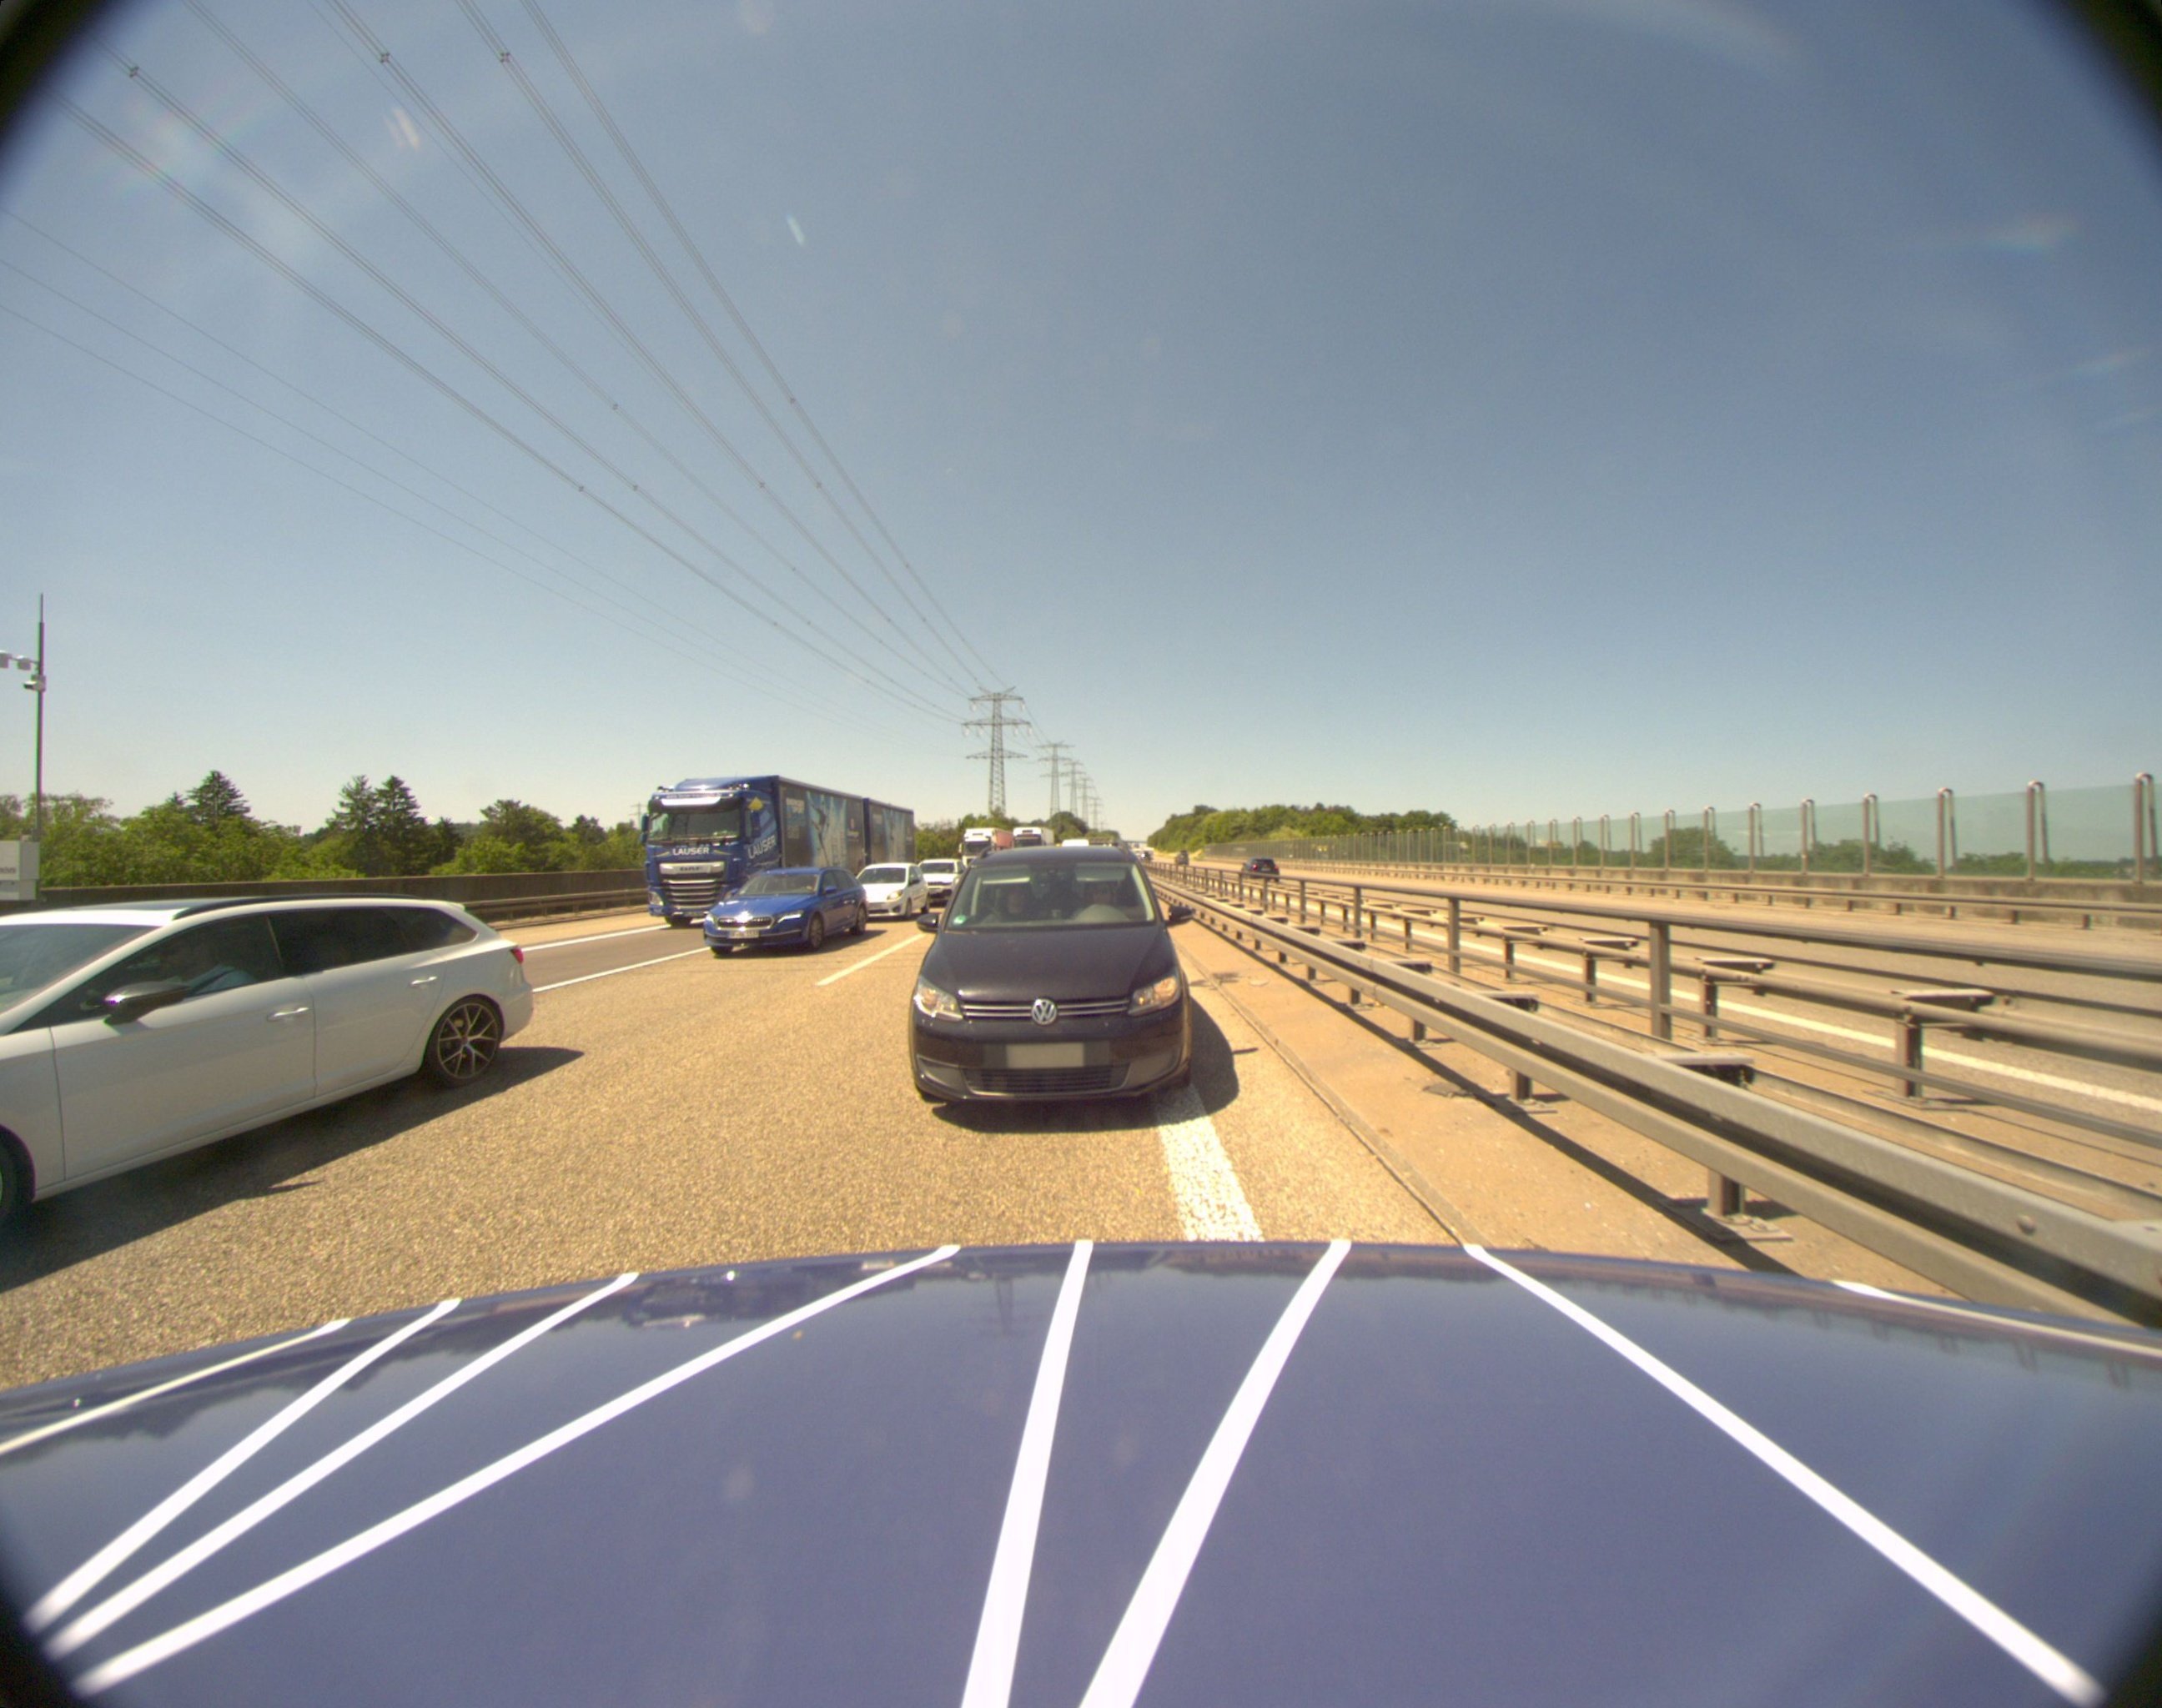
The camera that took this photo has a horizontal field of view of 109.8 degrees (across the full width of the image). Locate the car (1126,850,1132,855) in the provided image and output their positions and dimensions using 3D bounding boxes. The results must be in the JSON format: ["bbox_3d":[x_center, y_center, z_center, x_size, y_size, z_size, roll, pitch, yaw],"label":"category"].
[{"bbox_3d":[14.126,-0.440,224.349,1.704,1.412,4.000,2,1,1],"label":"car"}]

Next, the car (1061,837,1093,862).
[{"bbox_3d":[-0.229,-0.322,49.977,1.924,1.501,3.996,-2,1,1],"label":"car"}]

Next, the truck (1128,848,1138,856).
[{"bbox_3d":[12.986,-0.495,190.888,2.295,1.807,5.279,2,1,1],"label":"truck"}]

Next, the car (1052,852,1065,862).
[{"bbox_3d":[-3.446,0.425,117.622,1.704,1.412,4.000,2,1,1],"label":"car"}]

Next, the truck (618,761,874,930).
[{"bbox_3d":[-9.405,-0.261,23.327,2.859,3.927,10.393,-2,1,2],"label":"truck"}]

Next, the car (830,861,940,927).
[{"bbox_3d":[-5.126,0.995,20.431,1.712,1.443,4.144,-2,1,2],"label":"car"}]

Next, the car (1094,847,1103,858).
[{"bbox_3d":[3.466,-0.298,148.717,1.704,2.116,4.000,-2,1,1],"label":"car"}]

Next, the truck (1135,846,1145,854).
[{"bbox_3d":[19.946,-1.473,258.290,2.970,2.447,6.902,-2,1,1],"label":"truck"}]

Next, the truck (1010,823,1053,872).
[{"bbox_3d":[-4.096,-0.577,64.320,2.849,3.804,8.263,-2,1,0],"label":"truck"}]

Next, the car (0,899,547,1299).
[{"bbox_3d":[-5.244,1.111,3.964,1.713,1.443,4.429,-2,0,0],"label":"car"}]

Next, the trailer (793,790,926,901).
[{"bbox_3d":[-9.189,-0.359,32.823,2.835,4.065,8.637,-2,1,1],"label":"trailer"}]

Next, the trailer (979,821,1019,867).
[{"bbox_3d":[-7.813,-1.002,73.658,2.608,4.094,9.084,-2,1,0],"label":"trailer"}]

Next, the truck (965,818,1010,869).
[{"bbox_3d":[-7.871,-0.903,64.978,2.608,3.964,8.263,-2,1,0],"label":"truck"}]

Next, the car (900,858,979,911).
[{"bbox_3d":[-4.641,0.949,25.527,1.712,1.501,4.144,-2,1,2],"label":"car"}]

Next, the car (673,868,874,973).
[{"bbox_3d":[-5.392,1.076,14.073,1.712,1.443,4.563,-2,1,2],"label":"car"}]

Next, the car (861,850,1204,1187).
[{"bbox_3d":[-0.226,0.847,5.901,1.712,1.669,3.931,-2,1,1],"label":"car"}]

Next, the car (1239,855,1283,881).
[{"bbox_3d":[10.658,0.794,45.271,1.704,1.412,4.000,2,1,1],"label":"car"}]

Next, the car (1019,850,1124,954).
[{"bbox_3d":[-0.134,0.800,14.718,1.712,1.669,3.931,-2,1,1],"label":"car"}]

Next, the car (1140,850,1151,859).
[{"bbox_3d":[11.331,0.055,133.069,1.704,1.412,4.000,2,1,1],"label":"car"}]

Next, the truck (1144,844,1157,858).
[{"bbox_3d":[17.355,-0.765,189.187,2.638,3.295,6.075,2,1,1],"label":"truck"}]

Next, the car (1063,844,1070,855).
[{"bbox_3d":[-3.638,-1.140,191.909,1.704,2.525,4.000,2,1,1],"label":"car"}]

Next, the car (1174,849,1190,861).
[{"bbox_3d":[14.567,0.089,109.354,1.832,1.629,4.000,2,1,1],"label":"car"}]
